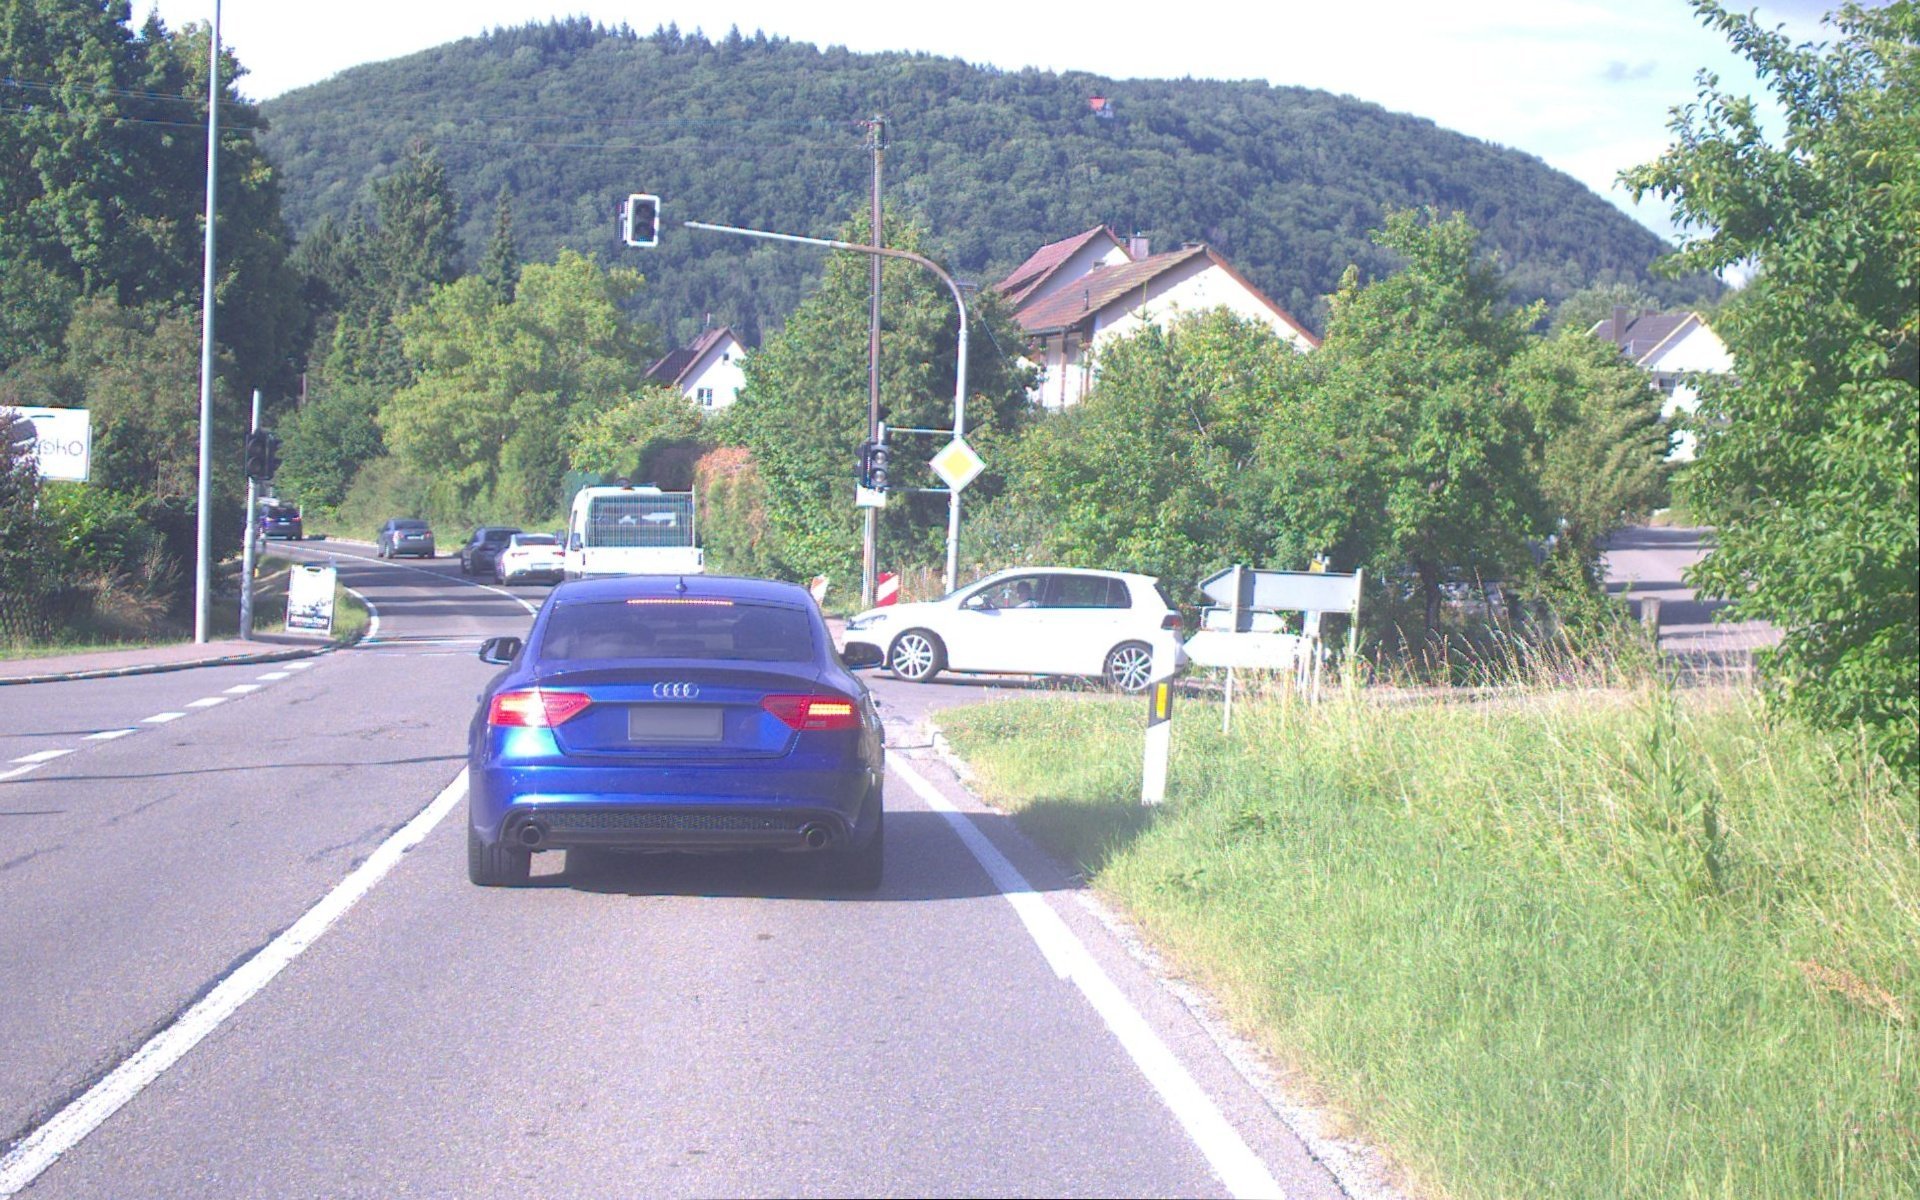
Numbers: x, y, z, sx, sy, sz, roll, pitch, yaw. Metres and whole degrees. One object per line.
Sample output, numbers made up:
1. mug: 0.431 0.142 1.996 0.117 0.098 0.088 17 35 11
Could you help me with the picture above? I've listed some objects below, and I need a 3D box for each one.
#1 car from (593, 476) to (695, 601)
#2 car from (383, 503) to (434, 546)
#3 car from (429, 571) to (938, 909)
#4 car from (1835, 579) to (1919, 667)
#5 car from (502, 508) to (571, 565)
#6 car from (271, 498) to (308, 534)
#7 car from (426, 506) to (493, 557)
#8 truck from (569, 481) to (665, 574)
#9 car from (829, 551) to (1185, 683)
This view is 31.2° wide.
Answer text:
1. car: -5.715 -1.090 62.521 1.746 2.188 4.001 1 0 -4
2. car: -20.221 -2.758 126.186 1.697 1.485 3.527 1 0 -7
3. car: -1.154 0.569 16.118 1.795 1.383 3.999 0 0 4
4. car: 15.359 0.370 56.961 1.624 1.385 3.997 1 0 14
5. car: -11.523 -1.703 93.464 1.697 1.485 3.528 1 0 -9
6. car: -31.186 -3.886 160.007 1.625 1.571 3.680 1 0 -10
7. car: -15.263 -2.073 104.747 1.697 1.485 3.528 1 0 -13
8. truck: -7.616 -1.560 76.018 1.697 1.947 5.924 1 0 -9
9. car: 0.535 0.201 41.507 4.043 1.503 1.855 1 0 -8
